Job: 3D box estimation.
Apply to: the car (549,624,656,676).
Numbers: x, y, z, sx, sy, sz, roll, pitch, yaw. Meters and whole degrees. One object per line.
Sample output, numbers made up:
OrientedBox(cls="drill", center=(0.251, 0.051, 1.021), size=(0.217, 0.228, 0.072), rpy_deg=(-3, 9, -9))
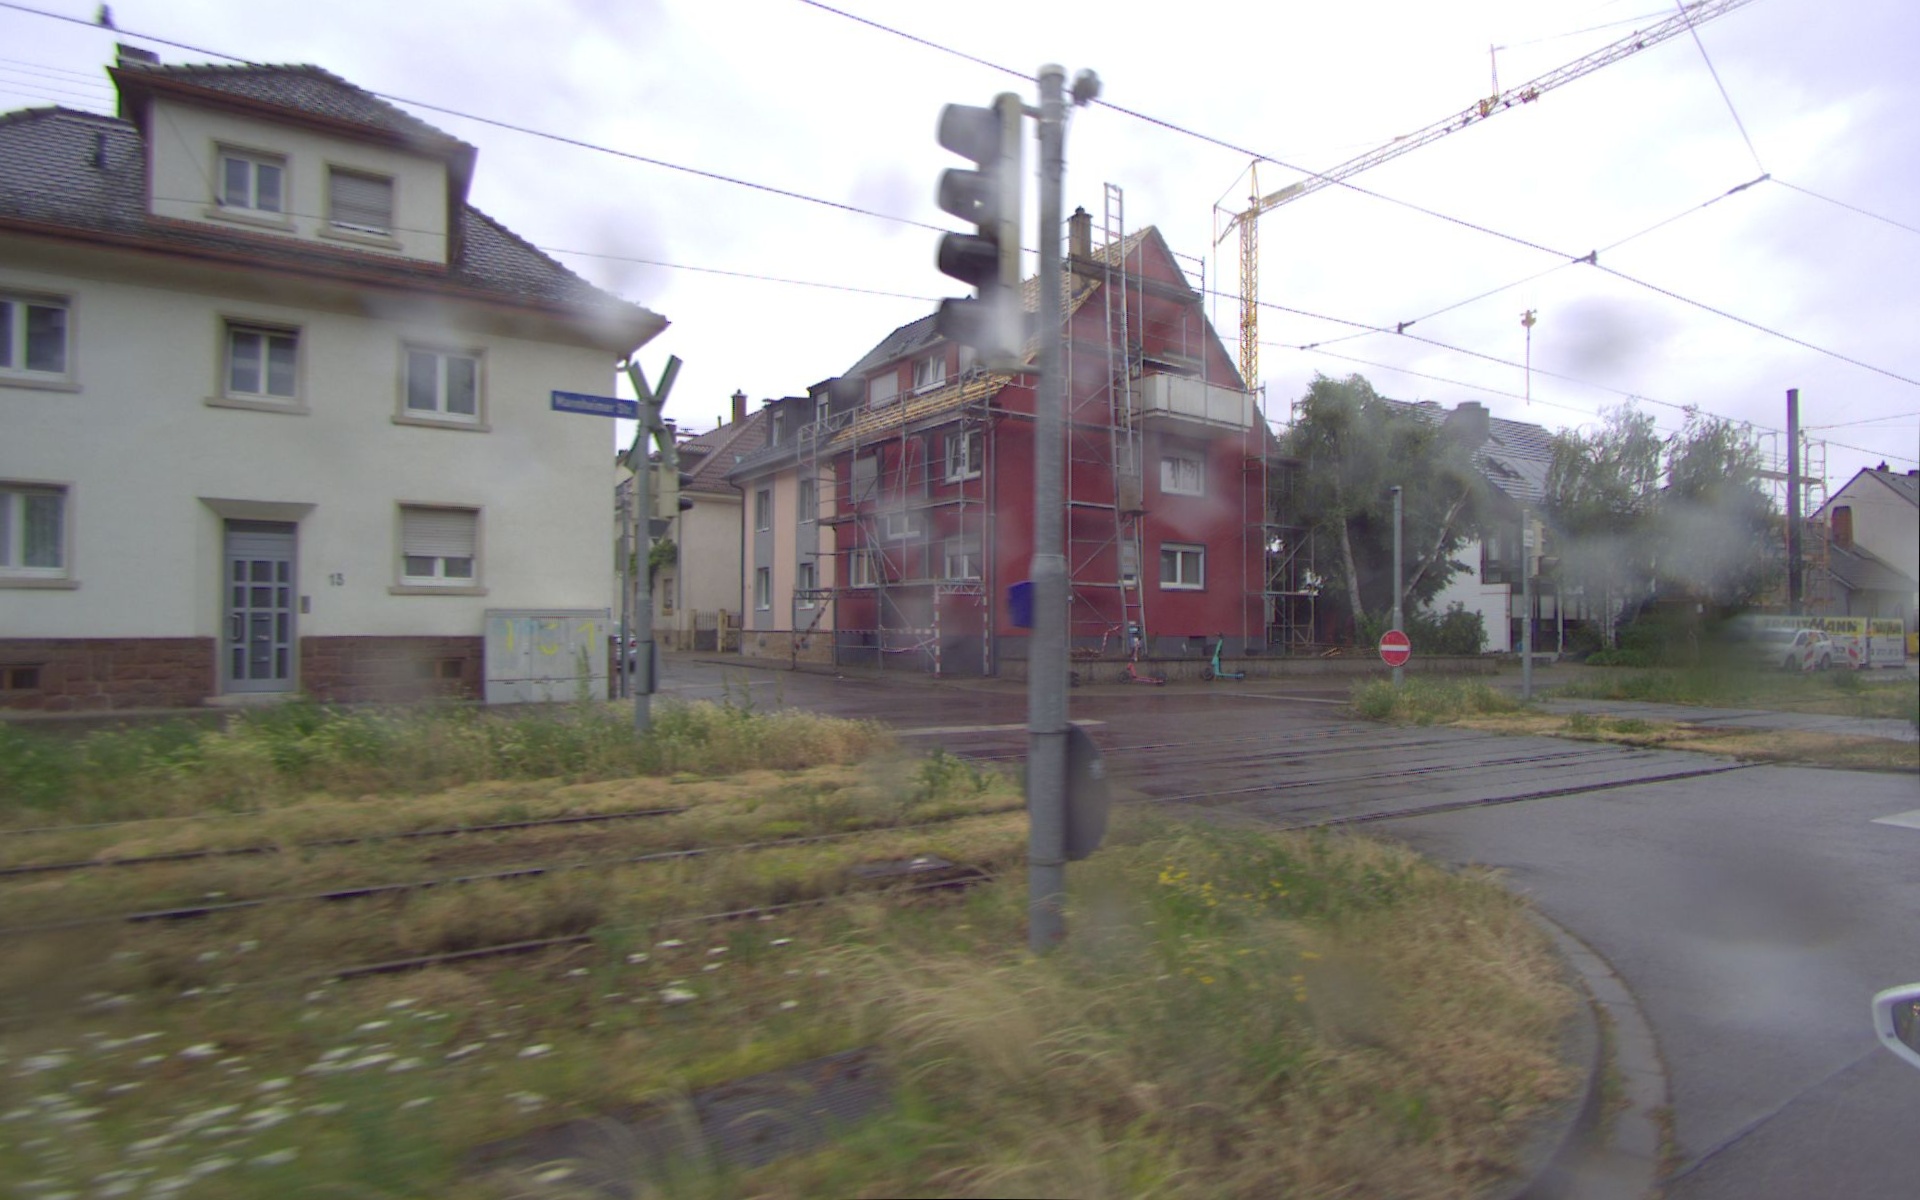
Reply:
OrientedBox(cls="car", center=(-10.701, 1.440, 29.883), size=(1.825, 1.419, 4.321), rpy_deg=(1, -2, -36))

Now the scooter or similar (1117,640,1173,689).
OrientedBox(cls="scooter or similar", center=(4.438, 1.547, 24.112), size=(1.257, 1.144, 0.441), rpy_deg=(0, -1, 1))

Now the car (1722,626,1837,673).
OrientedBox(cls="car", center=(30.148, 1.790, 36.920), size=(4.366, 1.563, 1.703), rpy_deg=(1, 1, -28))

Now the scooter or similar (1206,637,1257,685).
OrientedBox(cls="scooter or similar", center=(6.985, 1.558, 25.841), size=(1.261, 1.196, 0.394), rpy_deg=(1, -1, -15))
